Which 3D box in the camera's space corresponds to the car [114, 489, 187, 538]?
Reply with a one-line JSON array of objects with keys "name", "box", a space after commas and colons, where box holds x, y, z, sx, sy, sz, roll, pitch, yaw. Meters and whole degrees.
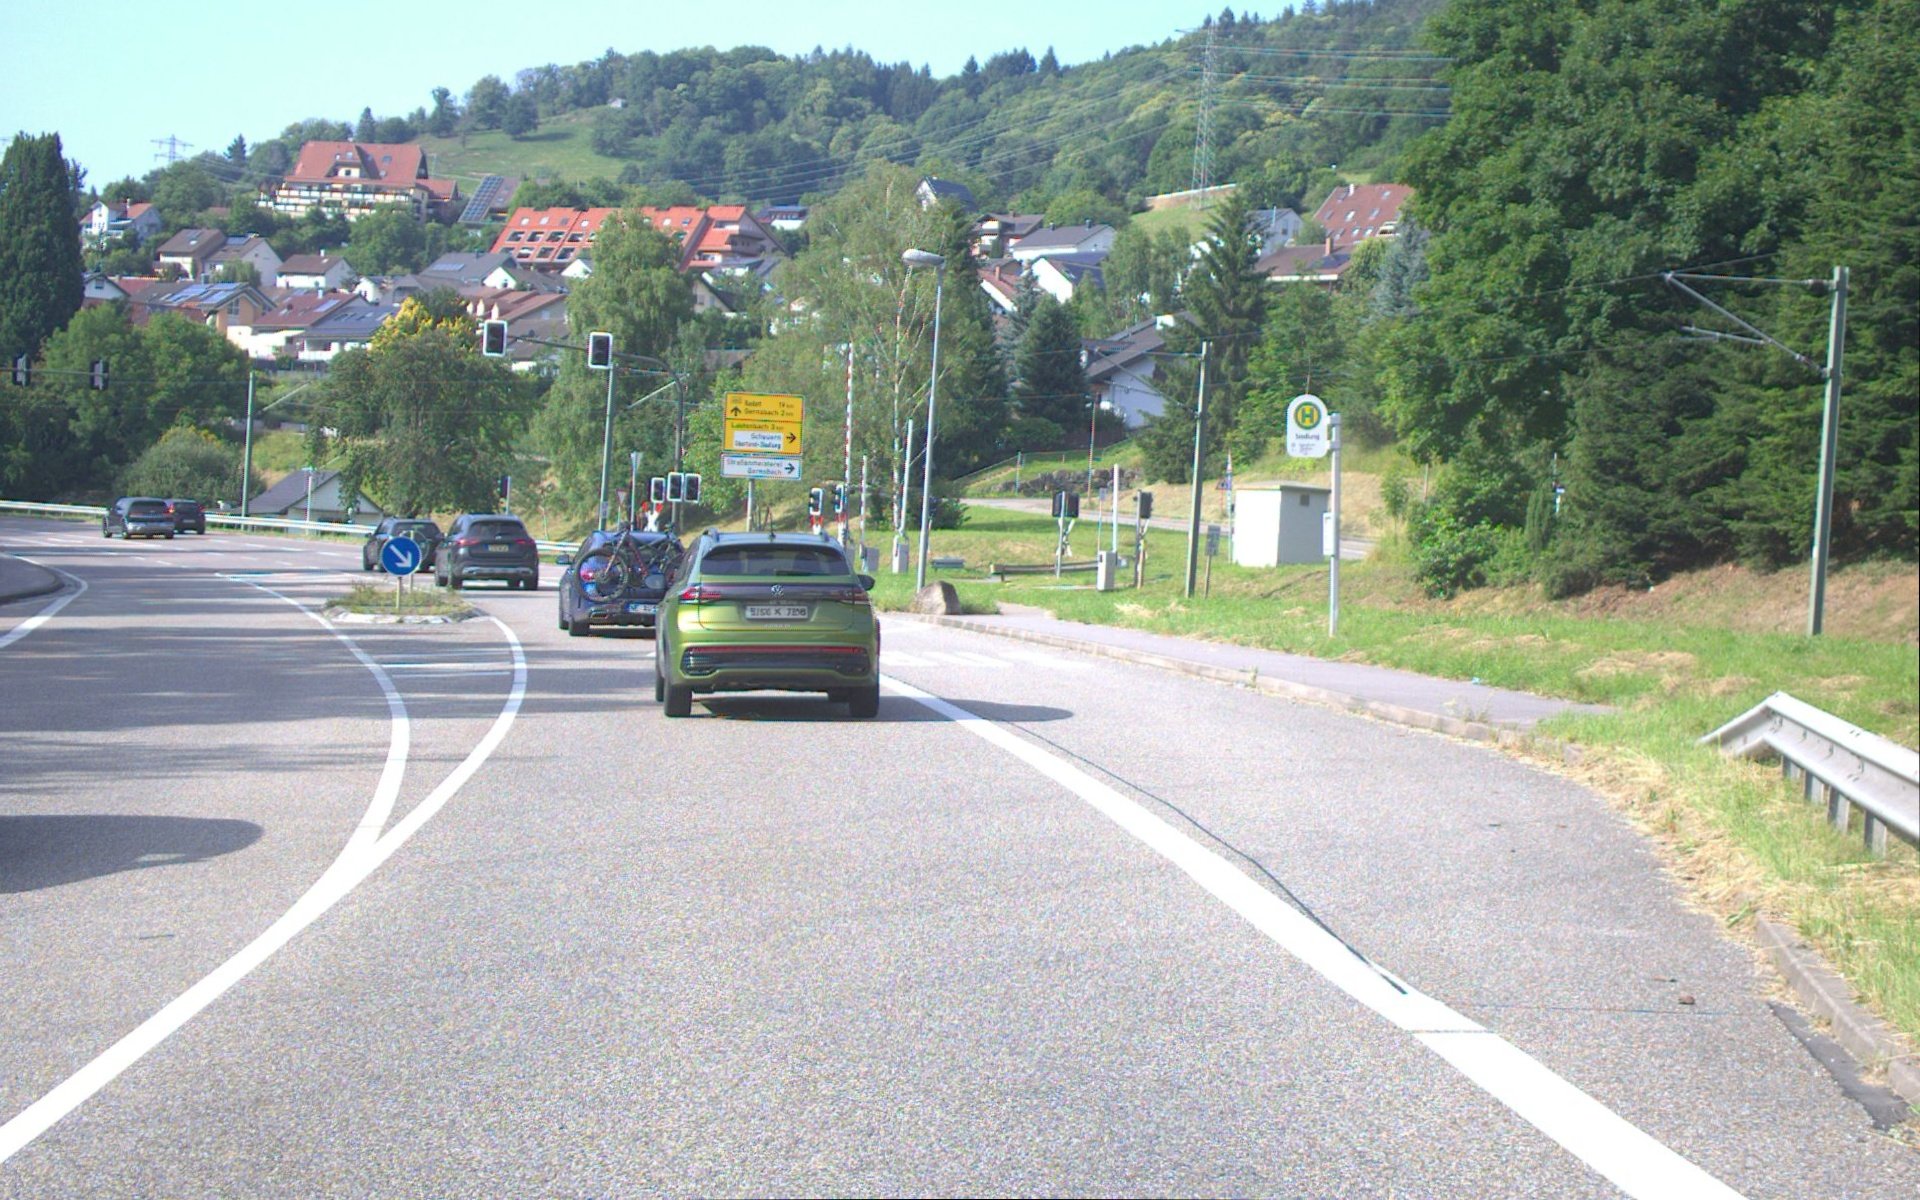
[{"name": "car", "box": [-31.244, -3.357, 132.646, 2.062, 1.805, 4.001, 1, 2, -23]}]

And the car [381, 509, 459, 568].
[{"name": "car", "box": [-14.541, -1.660, 92.470, 1.848, 1.521, 3.663, 1, 1, -12]}]

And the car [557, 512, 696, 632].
[{"name": "car", "box": [-4.611, -0.409, 47.137, 1.666, 1.554, 4.001, 1, 1, -8]}]

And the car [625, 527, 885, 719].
[{"name": "car", "box": [-1.779, 0.143, 28.667, 1.714, 1.450, 4.001, 1, 1, -10]}]

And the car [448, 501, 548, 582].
[{"name": "car", "box": [-10.152, -1.291, 75.382, 1.879, 1.681, 4.001, 1, 1, -12]}]

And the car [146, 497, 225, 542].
[{"name": "car", "box": [-31.977, -3.342, 141.933, 1.993, 1.739, 4.000, 1, 2, -31]}]
